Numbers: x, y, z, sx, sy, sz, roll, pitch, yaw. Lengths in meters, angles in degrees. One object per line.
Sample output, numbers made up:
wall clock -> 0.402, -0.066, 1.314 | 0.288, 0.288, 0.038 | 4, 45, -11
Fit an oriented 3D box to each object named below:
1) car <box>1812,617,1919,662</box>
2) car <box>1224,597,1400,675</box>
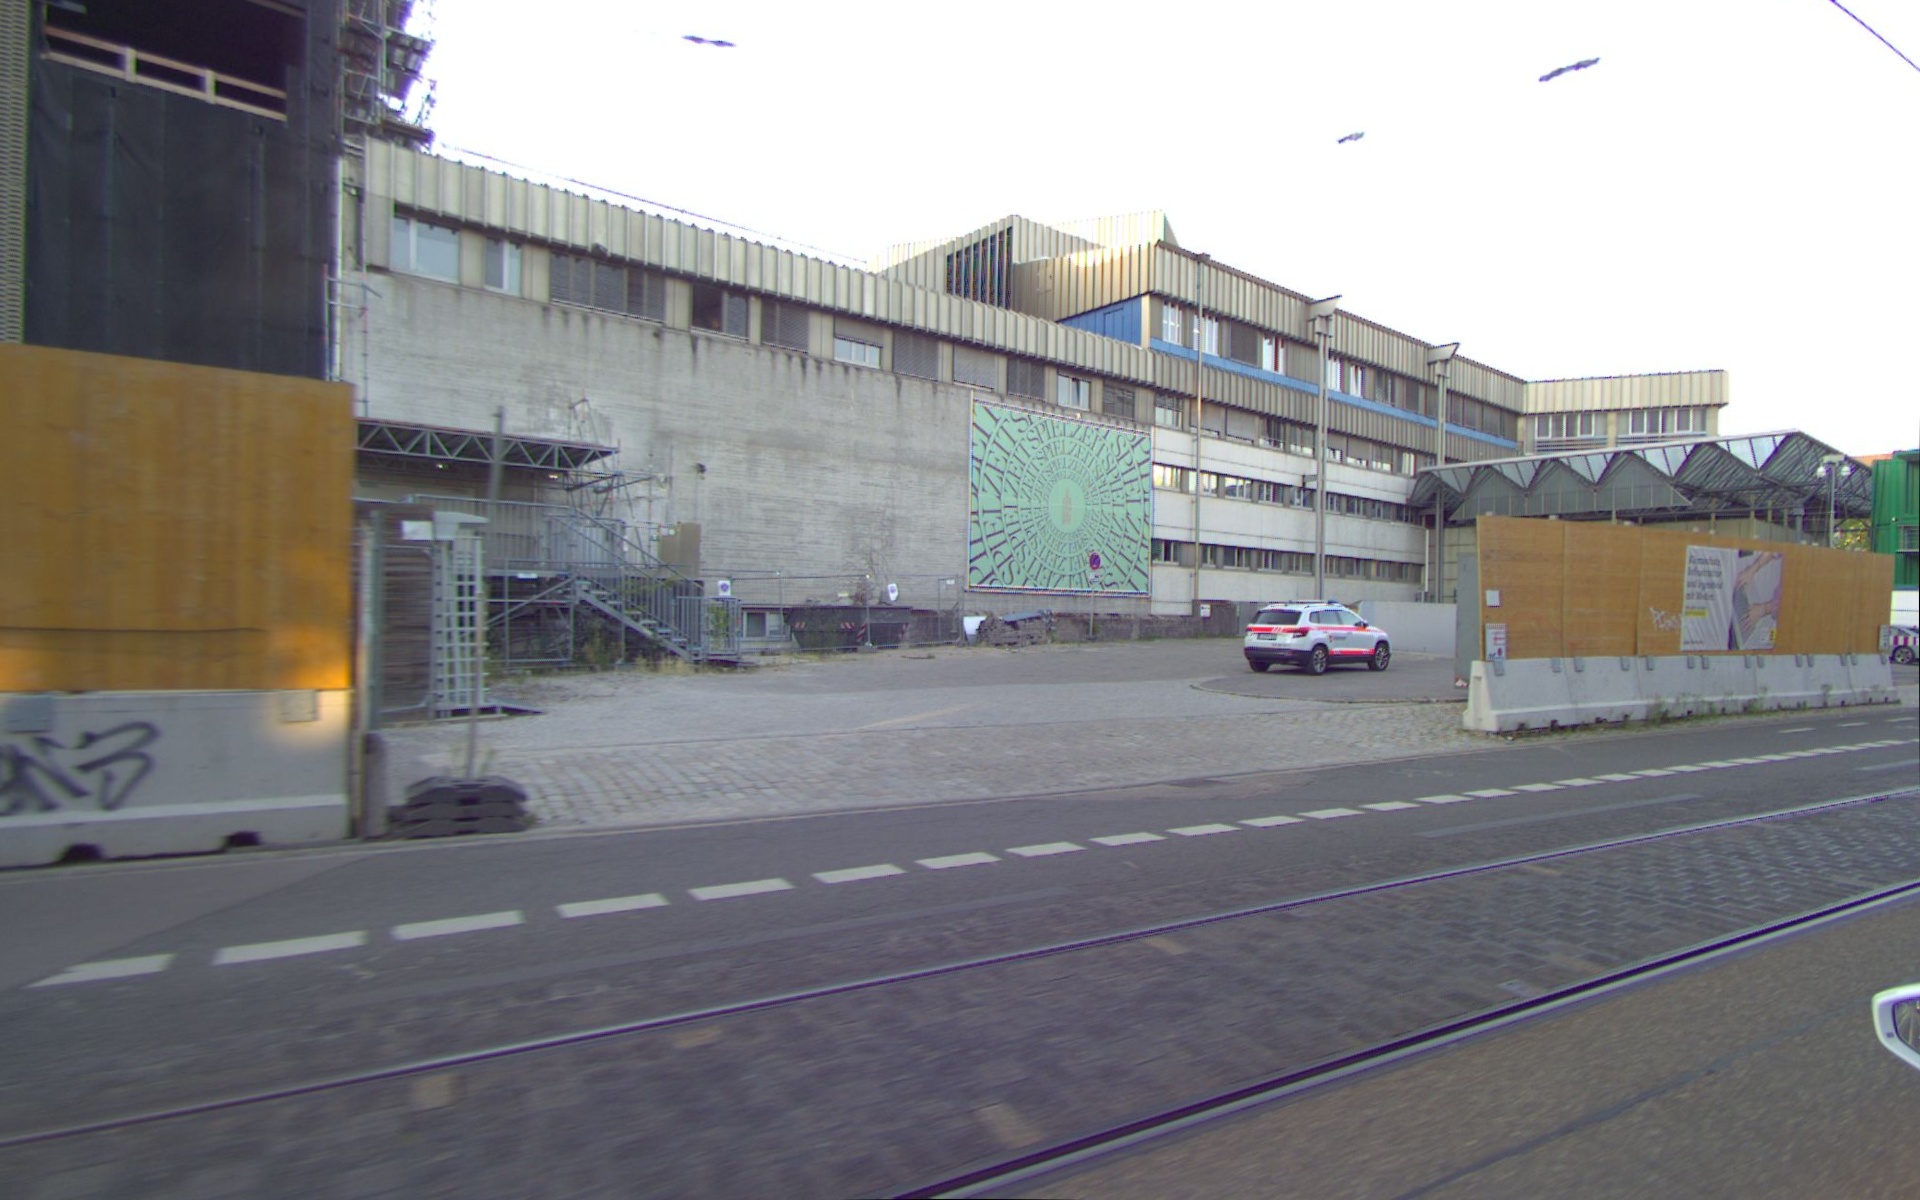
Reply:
car -> 35.293, 1.490, 38.299 | 1.707, 1.421, 3.995 | 1, 2, -14
car -> 8.501, 0.819, 24.123 | 4.240, 1.686, 1.979 | 1, 0, -37
